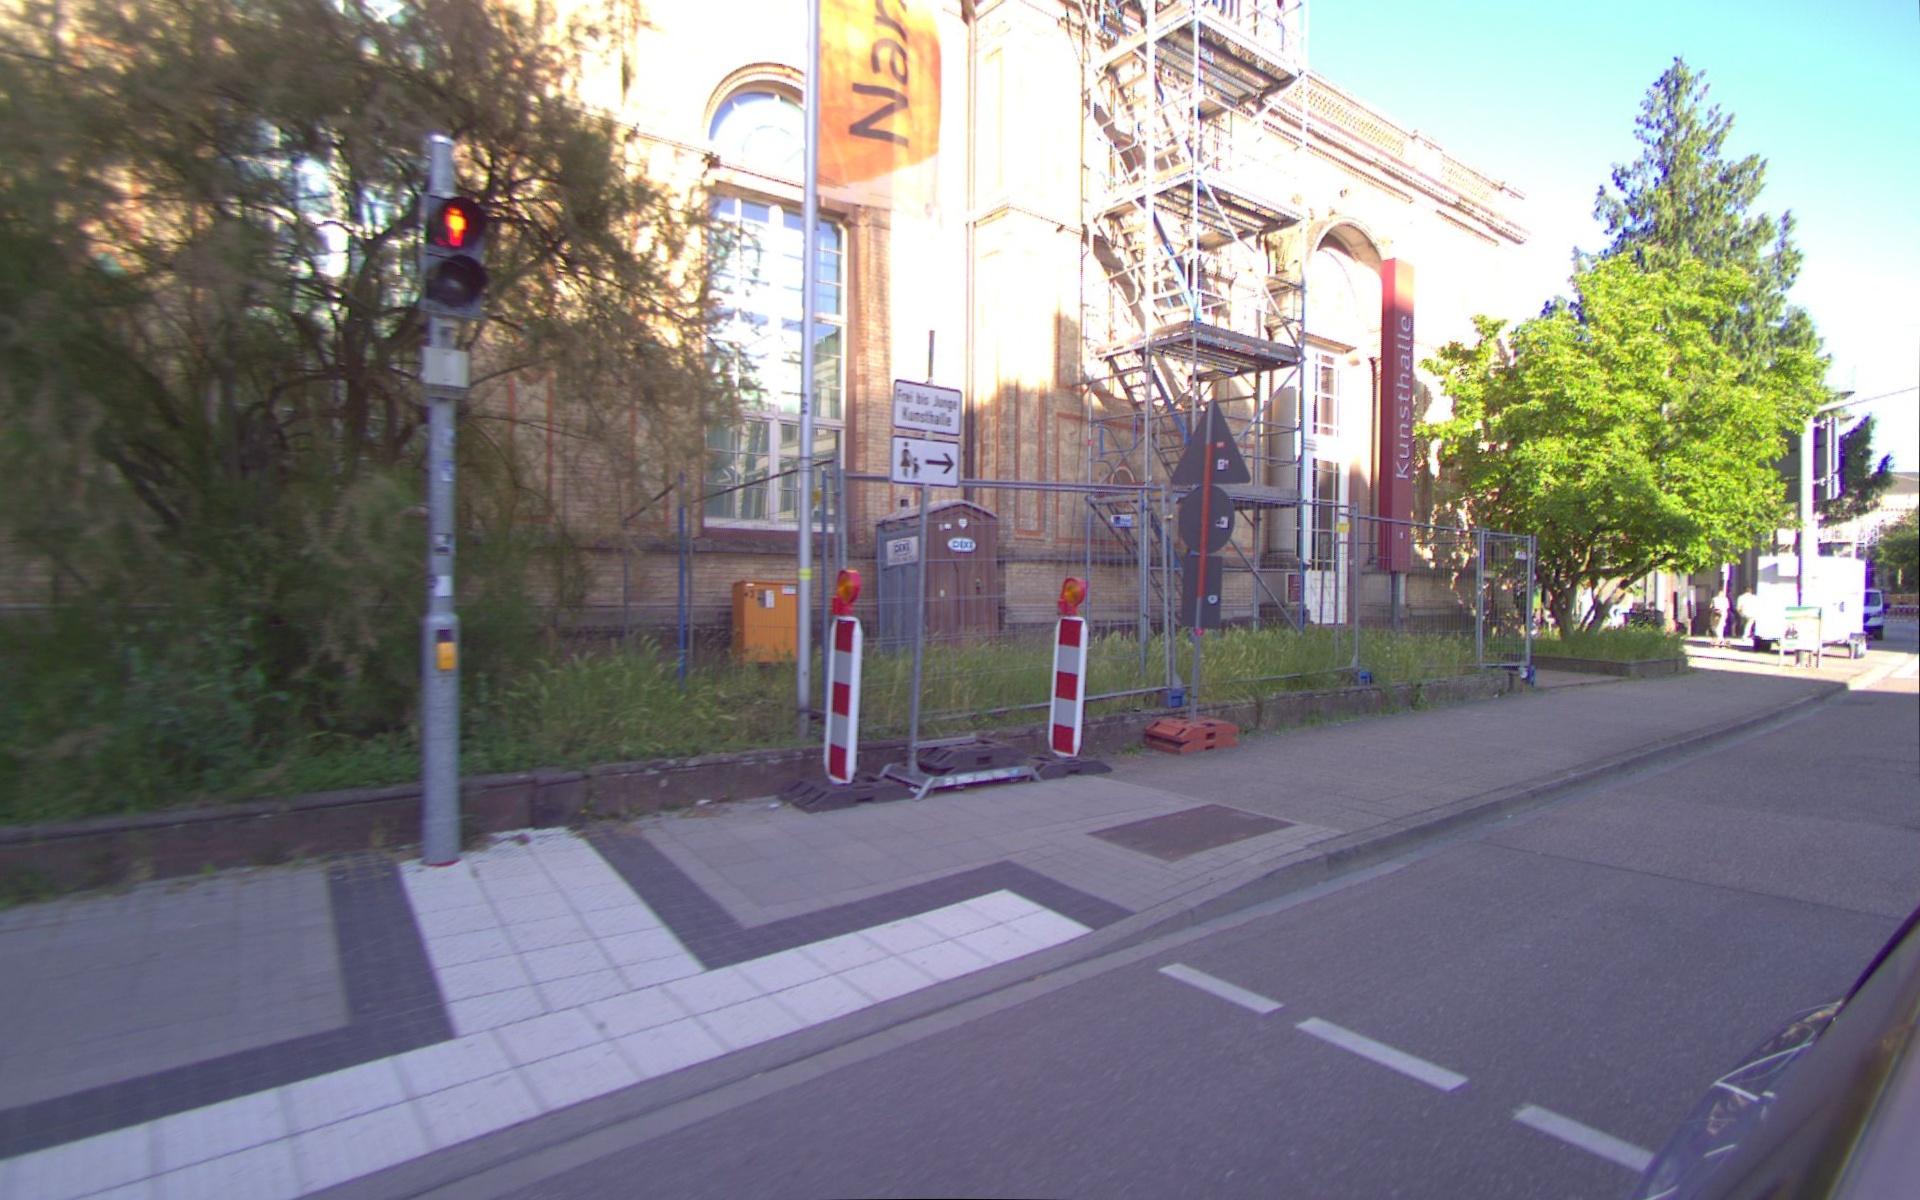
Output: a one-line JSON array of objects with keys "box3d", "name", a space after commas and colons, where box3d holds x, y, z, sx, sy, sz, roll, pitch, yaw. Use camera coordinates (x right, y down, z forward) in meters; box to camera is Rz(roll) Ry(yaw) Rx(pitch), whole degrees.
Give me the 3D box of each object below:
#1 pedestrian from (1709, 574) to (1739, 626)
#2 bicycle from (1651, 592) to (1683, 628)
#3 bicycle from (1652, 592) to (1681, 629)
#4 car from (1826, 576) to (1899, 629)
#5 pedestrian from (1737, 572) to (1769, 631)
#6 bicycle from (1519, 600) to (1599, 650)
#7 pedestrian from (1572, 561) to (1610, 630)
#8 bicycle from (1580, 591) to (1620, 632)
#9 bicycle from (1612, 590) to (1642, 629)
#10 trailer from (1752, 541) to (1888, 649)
[{"box3d": [25.913, 0.006, 34.327, 0.682, 1.722, 0.683, 1, 1, -44], "name": "pedestrian"}, {"box3d": [23.658, 0.319, 33.871, 1.794, 1.170, 0.419, 0, 3, -41], "name": "bicycle"}, {"box3d": [22.221, 0.325, 31.817, 1.896, 1.144, 0.395, 0, 1, -44], "name": "bicycle"}, {"box3d": [35.738, 0.071, 40.149, 2.012, 1.970, 5.400, -1, 0, 41], "name": "car"}, {"box3d": [26.502, 0.055, 33.807, 0.715, 1.918, 0.875, 2, 1, 44], "name": "pedestrian"}, {"box3d": [13.492, 0.550, 22.827, 0.471, 1.052, 1.468, 0, 1, -42], "name": "bicycle"}, {"box3d": [16.584, -0.121, 26.614, 0.724, 1.790, 0.640, 0, 1, -40], "name": "pedestrian"}, {"box3d": [17.880, 0.316, 28.260, 1.650, 1.119, 0.400, 0, 2, -39], "name": "bicycle"}, {"box3d": [19.867, 0.278, 30.125, 1.504, 1.119, 0.274, 0, 2, -39], "name": "bicycle"}, {"box3d": [22.440, -0.157, 26.356, 4.415, 2.559, 2.083, 0, 3, -42], "name": "trailer"}]
